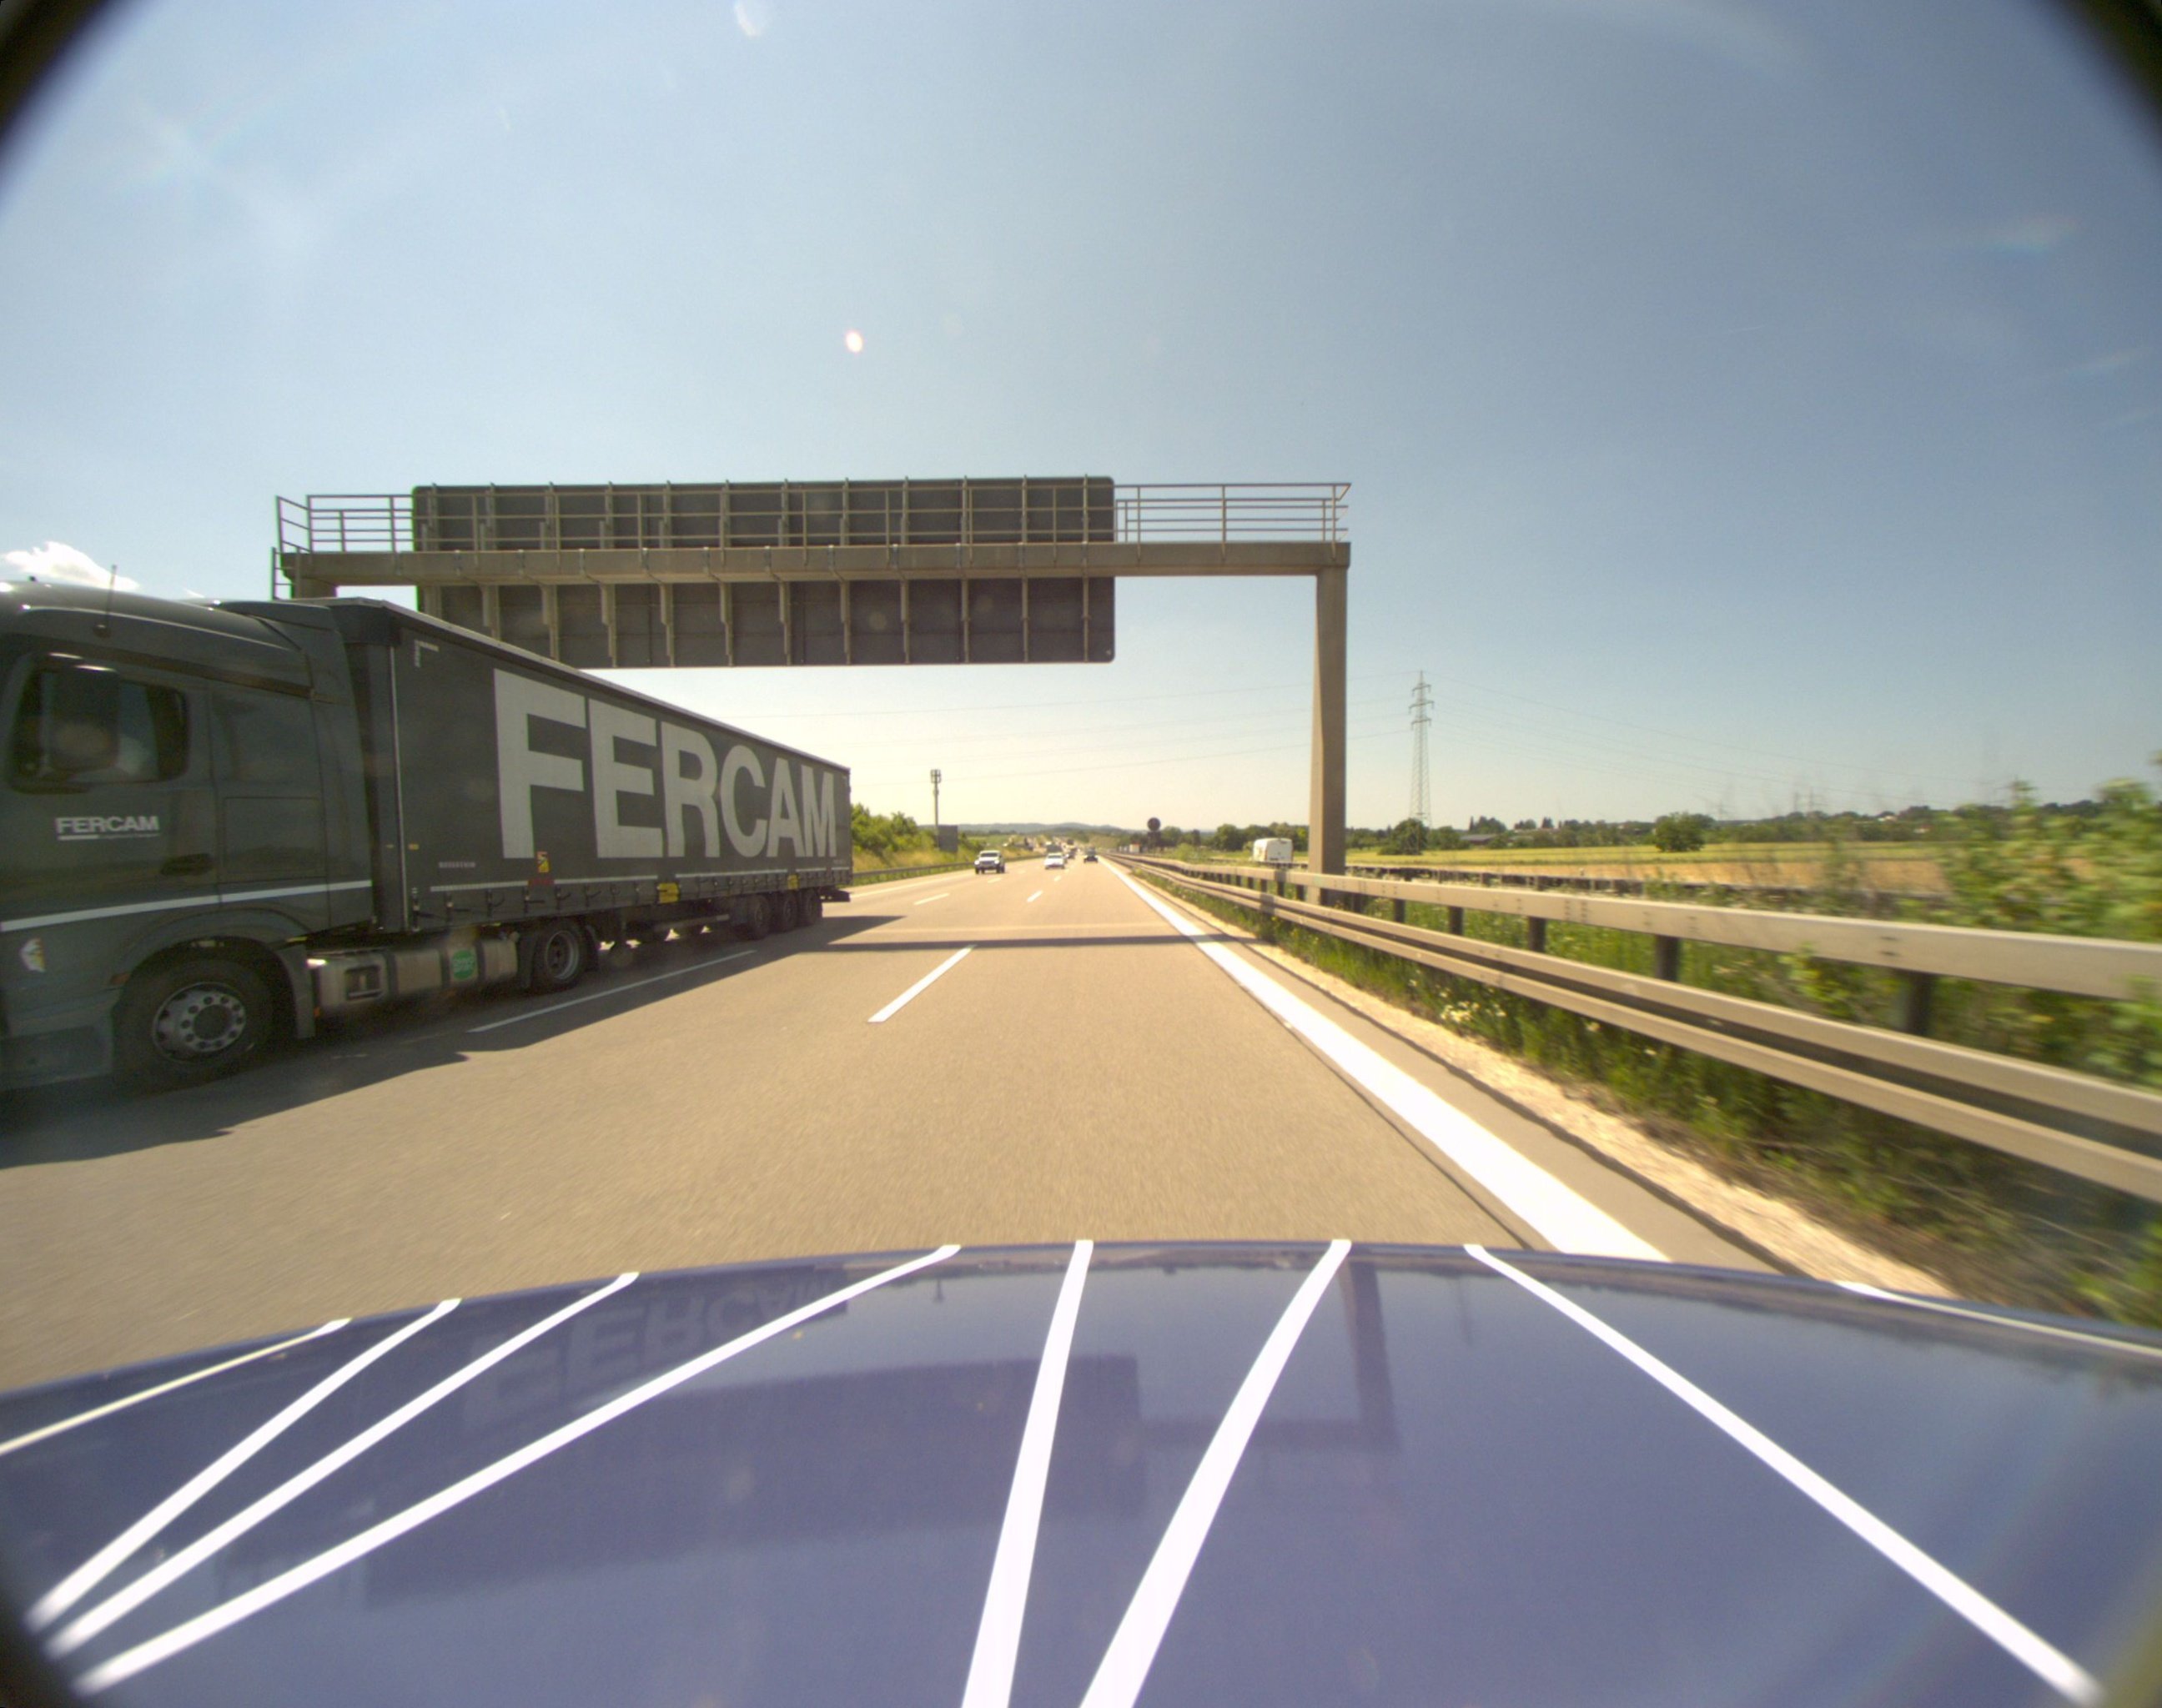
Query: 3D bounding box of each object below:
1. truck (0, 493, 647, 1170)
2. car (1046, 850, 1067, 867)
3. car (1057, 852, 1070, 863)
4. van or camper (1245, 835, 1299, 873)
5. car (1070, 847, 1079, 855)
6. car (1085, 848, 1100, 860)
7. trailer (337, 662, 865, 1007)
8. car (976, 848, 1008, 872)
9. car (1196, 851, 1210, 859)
[{"bbox_3d":[-7.703,-0.154,7.408,2.759,3.997,6.787,-2,1,1],"label":"truck"},{"bbox_3d":[-2.324,0.408,72.535,1.780,1.425,4.690,-2,1,0],"label":"car"},{"bbox_3d":[-2.401,0.488,103.094,1.634,1.381,3.999,-2,1,-1],"label":"car"},{"bbox_3d":[13.725,-0.018,55.108,2.233,2.494,6.596,-2,1,1],"label":"van or camper"},{"bbox_3d":[-1.298,-0.622,150.426,1.751,1.559,3.999,-2,1,-1],"label":"car"},{"bbox_3d":[1.376,0.027,95.956,1.751,1.439,3.999,-2,1,-1],"label":"car"},{"bbox_3d":[-7.556,-0.323,15.234,2.732,4.131,11.806,-2,1,1],"label":"trailer"},{"bbox_3d":[-7.265,0.443,62.173,2.039,1.794,4.250,-2,1,0],"label":"car"},{"bbox_3d":[18.837,0.133,117.752,1.577,1.299,4.041,0,1,1],"label":"car"}]
